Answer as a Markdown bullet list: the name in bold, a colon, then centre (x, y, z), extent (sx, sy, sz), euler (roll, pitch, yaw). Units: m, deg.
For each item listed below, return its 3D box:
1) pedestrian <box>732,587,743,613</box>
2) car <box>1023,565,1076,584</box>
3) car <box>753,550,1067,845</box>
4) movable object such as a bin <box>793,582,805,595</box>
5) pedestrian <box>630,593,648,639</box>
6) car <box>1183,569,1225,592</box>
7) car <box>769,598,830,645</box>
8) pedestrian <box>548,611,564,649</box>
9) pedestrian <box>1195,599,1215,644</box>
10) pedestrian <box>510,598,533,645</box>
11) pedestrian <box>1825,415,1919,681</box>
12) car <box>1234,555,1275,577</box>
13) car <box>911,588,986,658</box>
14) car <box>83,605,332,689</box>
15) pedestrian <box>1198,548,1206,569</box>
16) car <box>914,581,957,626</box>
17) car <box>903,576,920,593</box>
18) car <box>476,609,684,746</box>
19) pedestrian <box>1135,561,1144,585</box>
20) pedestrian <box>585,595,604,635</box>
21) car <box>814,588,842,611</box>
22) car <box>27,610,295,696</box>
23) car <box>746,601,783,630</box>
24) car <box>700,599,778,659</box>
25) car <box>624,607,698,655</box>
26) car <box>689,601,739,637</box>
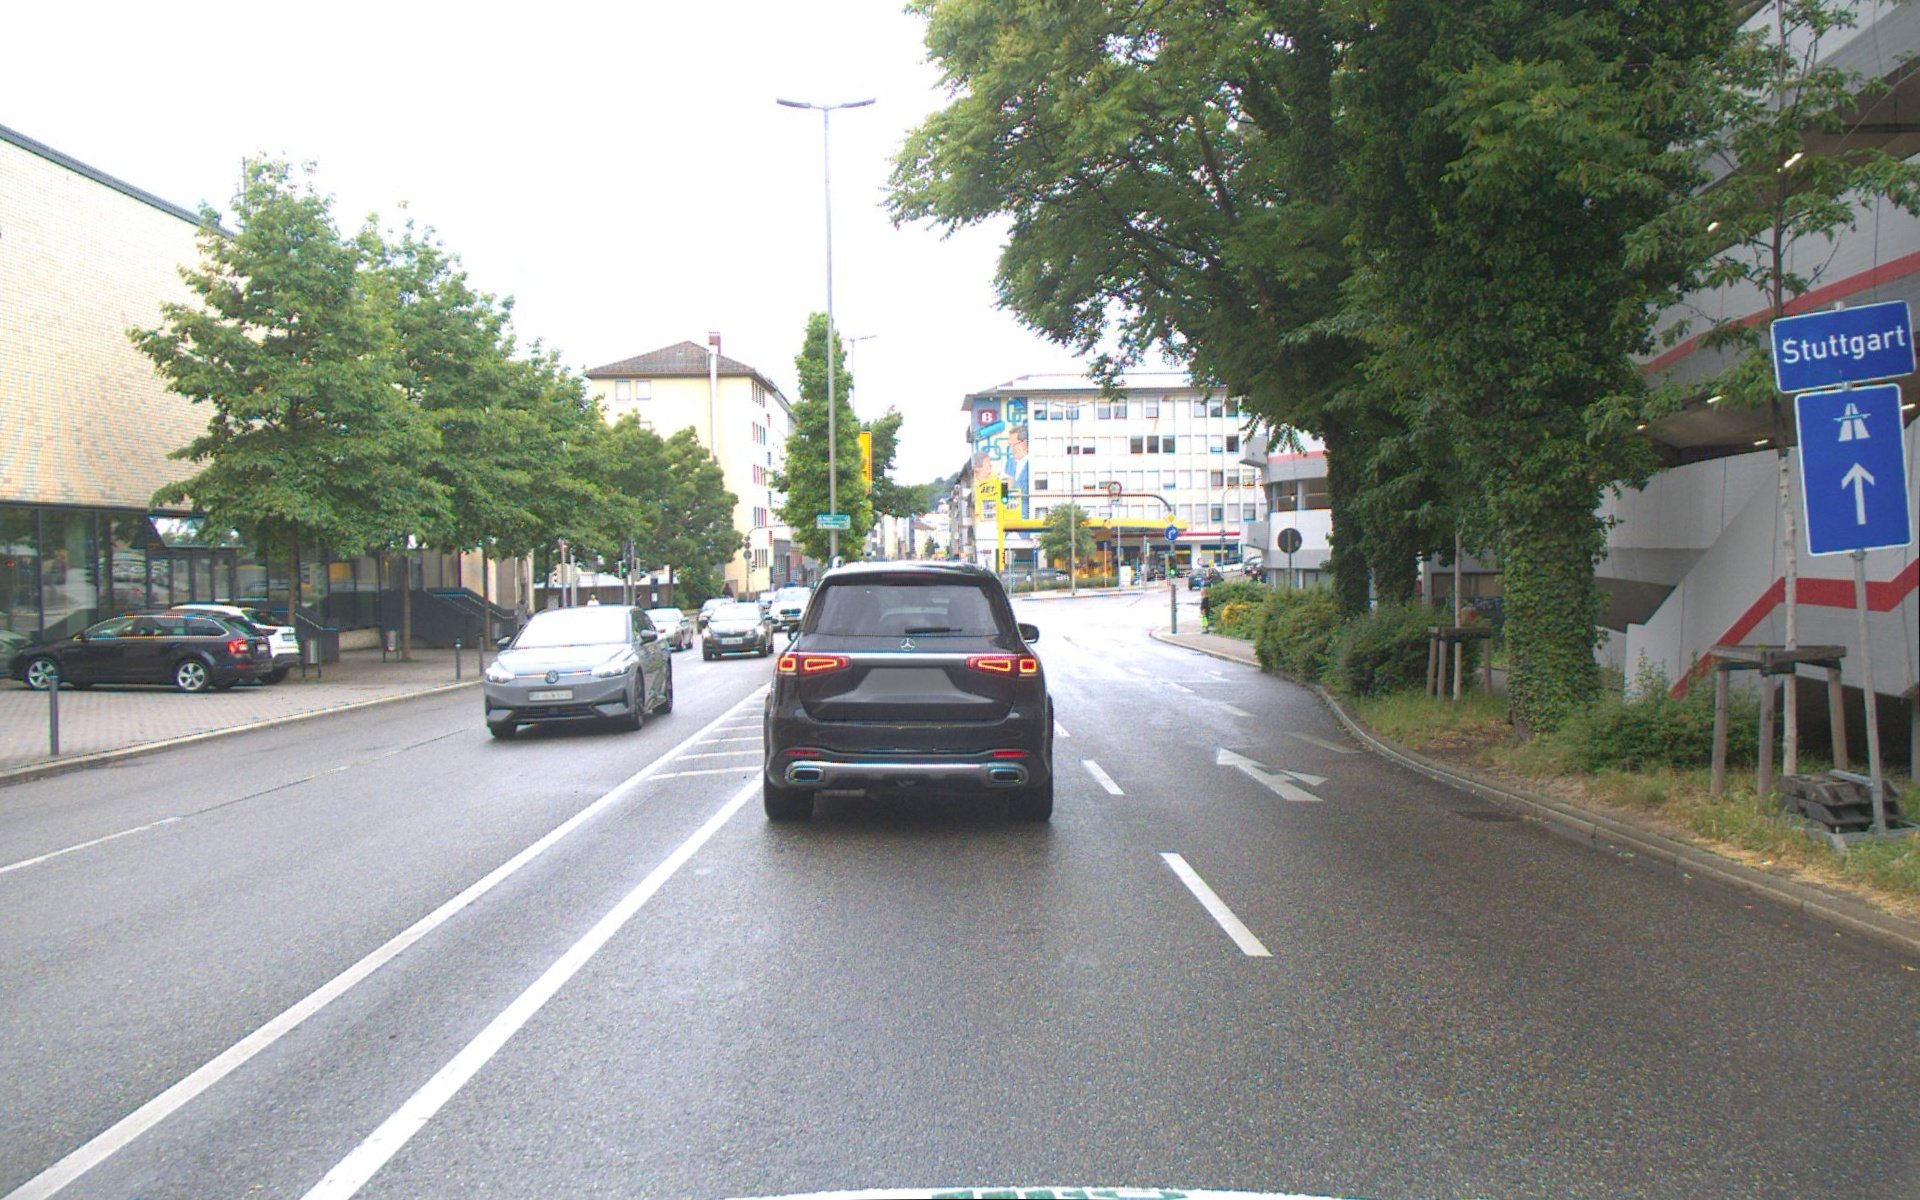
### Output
- **pedestrian**: centre (-15.133, 0.023, 112.614), extent (0.635, 1.757, 0.628), euler (-2, 0, -5)
- **car**: centre (6.922, -1.983, 127.961), extent (1.724, 1.400, 3.935), euler (-2, 1, -44)
- **car**: centre (-0.340, 0.638, 12.464), extent (1.953, 1.832, 3.999), euler (1, -1, -1)
- **movable object such as a bin**: centre (-13.669, -0.947, 140.167), extent (0.891, 1.056, 0.844), euler (1, -1, 0)
- **pedestrian**: centre (-12.922, 0.638, 66.551), extent (0.675, 1.788, 0.716), euler (-1, 1, -12)
- **car**: centre (16.771, -1.332, 113.564), extent (1.761, 1.552, 4.053), euler (1, 1, 25)
- **car**: centre (-6.786, 0.883, 70.362), extent (1.852, 1.843, 4.576), euler (-3, 0, 2)
- **pedestrian**: centre (-17.212, 1.277, 70.446), extent (0.429, 1.560, 0.546), euler (-1, 1, 13)
- **pedestrian**: centre (9.575, 0.844, 64.654), extent (0.634, 1.740, 0.470), euler (0, -1, 35)
- **pedestrian**: centre (-16.111, 0.779, 60.738), extent (0.630, 1.695, 1.017), euler (1, -1, -7)
- **pedestrian**: centre (7.665, -0.429, 13.912), extent (0.503, 2.192, 0.494), euler (0, 0, 3)
- **car**: centre (24.639, -2.833, 138.187), extent (1.958, 1.735, 3.990), euler (-1, 1, 33)
- **car**: centre (-0.332, 0.633, 45.901), extent (1.953, 1.832, 3.999), euler (1, -1, -1)
- **car**: centre (-15.205, 0.936, 33.579), extent (4.090, 1.574, 2.000), euler (1, -1, 0)
- **pedestrian**: centre (19.935, -3.423, 136.256), extent (0.515, 1.757, 0.688), euler (-1, 1, 26)
- **car**: centre (-1.172, 0.187, 78.189), extent (1.953, 2.049, 3.999), euler (1, -1, -1)
- **car**: centre (-6.083, -1.935, 208.429), extent (1.953, 2.049, 4.000), euler (1, -1, 0)
- **car**: centre (-4.832, 0.915, 21.667), extent (1.846, 1.524, 4.559), euler (-2, 0, -3)
- **pedestrian**: centre (13.004, -1.955, 119.702), extent (0.560, 1.727, 0.631), euler (1, -1, 0)
- **pedestrian**: centre (-15.586, 0.643, 70.540), extent (0.676, 1.685, 0.612), euler (-1, 1, -8)
- **car**: centre (-10.072, -0.073, 126.533), extent (1.851, 1.614, 4.535), euler (-3, 0, -2)
- **car**: centre (-15.004, 0.981, 31.278), extent (4.097, 1.521, 1.997), euler (1, -1, -7)
- **car**: centre (-10.623, 0.827, 90.247), extent (1.698, 1.418, 4.197), euler (-3, 0, -3)
- **car**: centre (-6.094, 0.786, 46.007), extent (1.776, 1.488, 4.285), euler (-3, 0, -3)
- **car**: centre (-9.840, 0.983, 54.635), extent (1.793, 1.412, 4.227), euler (-3, 0, -3)
- **car**: centre (-10.725, 0.806, 72.408), extent (1.710, 1.437, 3.969), euler (-3, 0, -3)
